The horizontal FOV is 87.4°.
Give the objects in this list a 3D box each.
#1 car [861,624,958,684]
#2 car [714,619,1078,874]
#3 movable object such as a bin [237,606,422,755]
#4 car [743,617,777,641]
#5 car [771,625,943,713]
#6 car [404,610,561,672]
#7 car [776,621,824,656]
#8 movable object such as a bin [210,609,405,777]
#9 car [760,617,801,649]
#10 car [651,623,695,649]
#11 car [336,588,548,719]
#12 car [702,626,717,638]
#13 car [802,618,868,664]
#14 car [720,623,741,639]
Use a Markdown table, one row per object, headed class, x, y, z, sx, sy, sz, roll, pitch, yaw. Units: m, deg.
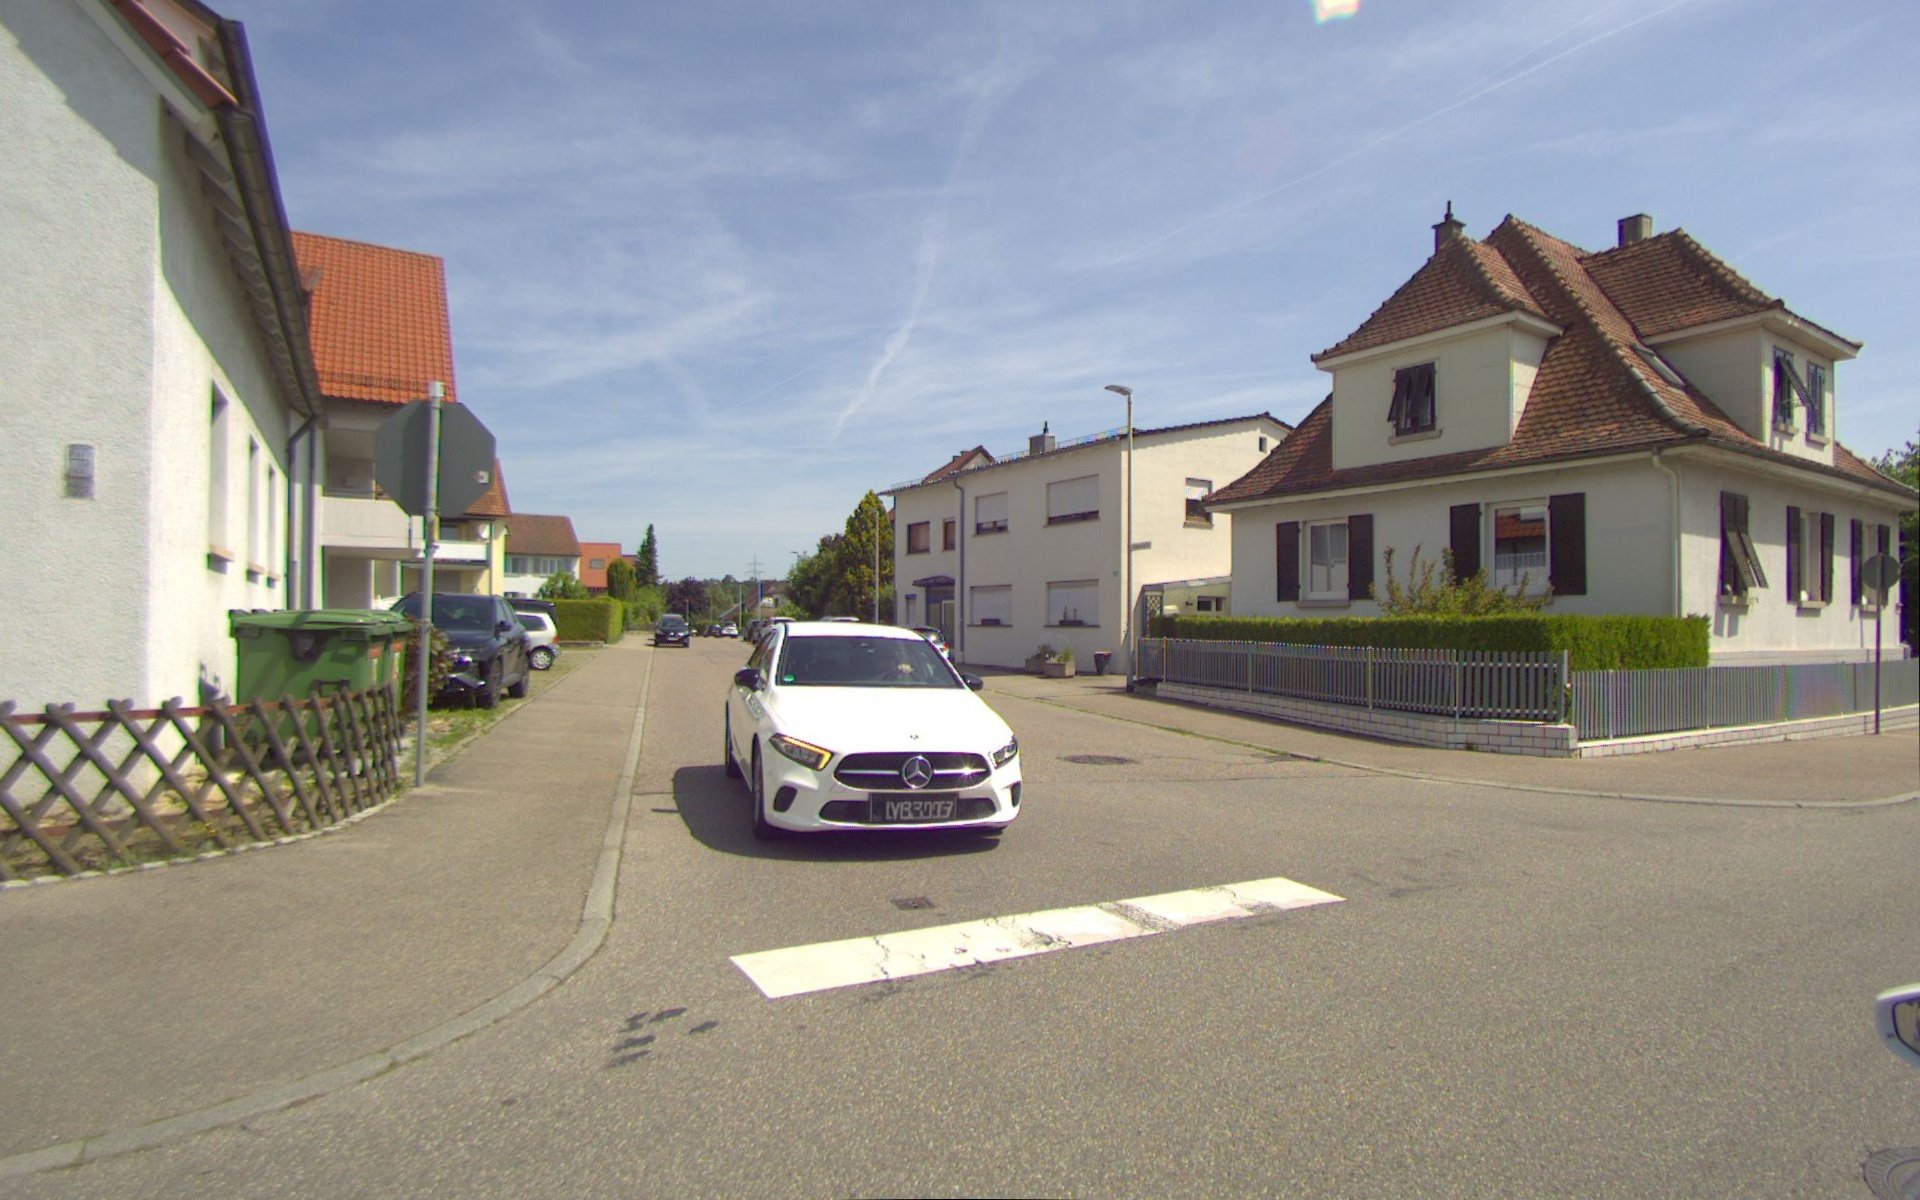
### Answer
| class | x | y | z | sx | sy | sz | roll | pitch | yaw |
| --- | --- | --- | --- | --- | --- | --- | --- | --- | --- |
| car | -1.472 | 1.456 | 27.810 | 1.748 | 1.511 | 3.761 | 2 | -1 | -18 |
| car | -0.846 | 0.888 | 8.064 | 1.899 | 1.416 | 4.478 | 2 | -1 | -17 |
| movable object such as a bin | -6.210 | 0.765 | 10.016 | 1.294 | 1.353 | 1.260 | 2 | -1 | -22 |
| car | -13.553 | 1.942 | 67.942 | 1.748 | 1.511 | 3.761 | 2 | -1 | -18 |
| car | -2.156 | 1.262 | 19.683 | 1.737 | 1.457 | 4.554 | 2 | -2 | -28 |
| car | -11.612 | 1.001 | 24.498 | 3.339 | 1.417 | 1.319 | 2 | -2 | -31 |
| car | -7.236 | 1.696 | 45.238 | 1.496 | 1.484 | 3.510 | 2 | -1 | -20 |
| movable object such as a bin | -5.632 | 0.769 | 8.787 | 1.149 | 1.331 | 1.260 | 2 | -1 | -22 |
| car | -9.955 | 1.822 | 55.505 | 1.748 | 1.672 | 3.761 | 2 | -1 | -18 |
| car | -14.507 | 1.791 | 50.629 | 1.755 | 1.194 | 3.981 | 2 | -1 | -21 |
| car | -7.504 | 0.747 | 15.033 | 1.761 | 1.567 | 4.266 | 5 | -2 | -14 |
| car | -33.662 | 4.322 | 135.032 | 1.748 | 1.511 | 3.761 | 2 | -1 | -18 |
| car | -4.913 | 1.573 | 39.076 | 1.749 | 1.672 | 3.759 | 2 | -1 | -20 |
| car | -23.570 | 3.184 | 103.022 | 1.748 | 1.511 | 3.761 | 2 | -1 | -18 |
